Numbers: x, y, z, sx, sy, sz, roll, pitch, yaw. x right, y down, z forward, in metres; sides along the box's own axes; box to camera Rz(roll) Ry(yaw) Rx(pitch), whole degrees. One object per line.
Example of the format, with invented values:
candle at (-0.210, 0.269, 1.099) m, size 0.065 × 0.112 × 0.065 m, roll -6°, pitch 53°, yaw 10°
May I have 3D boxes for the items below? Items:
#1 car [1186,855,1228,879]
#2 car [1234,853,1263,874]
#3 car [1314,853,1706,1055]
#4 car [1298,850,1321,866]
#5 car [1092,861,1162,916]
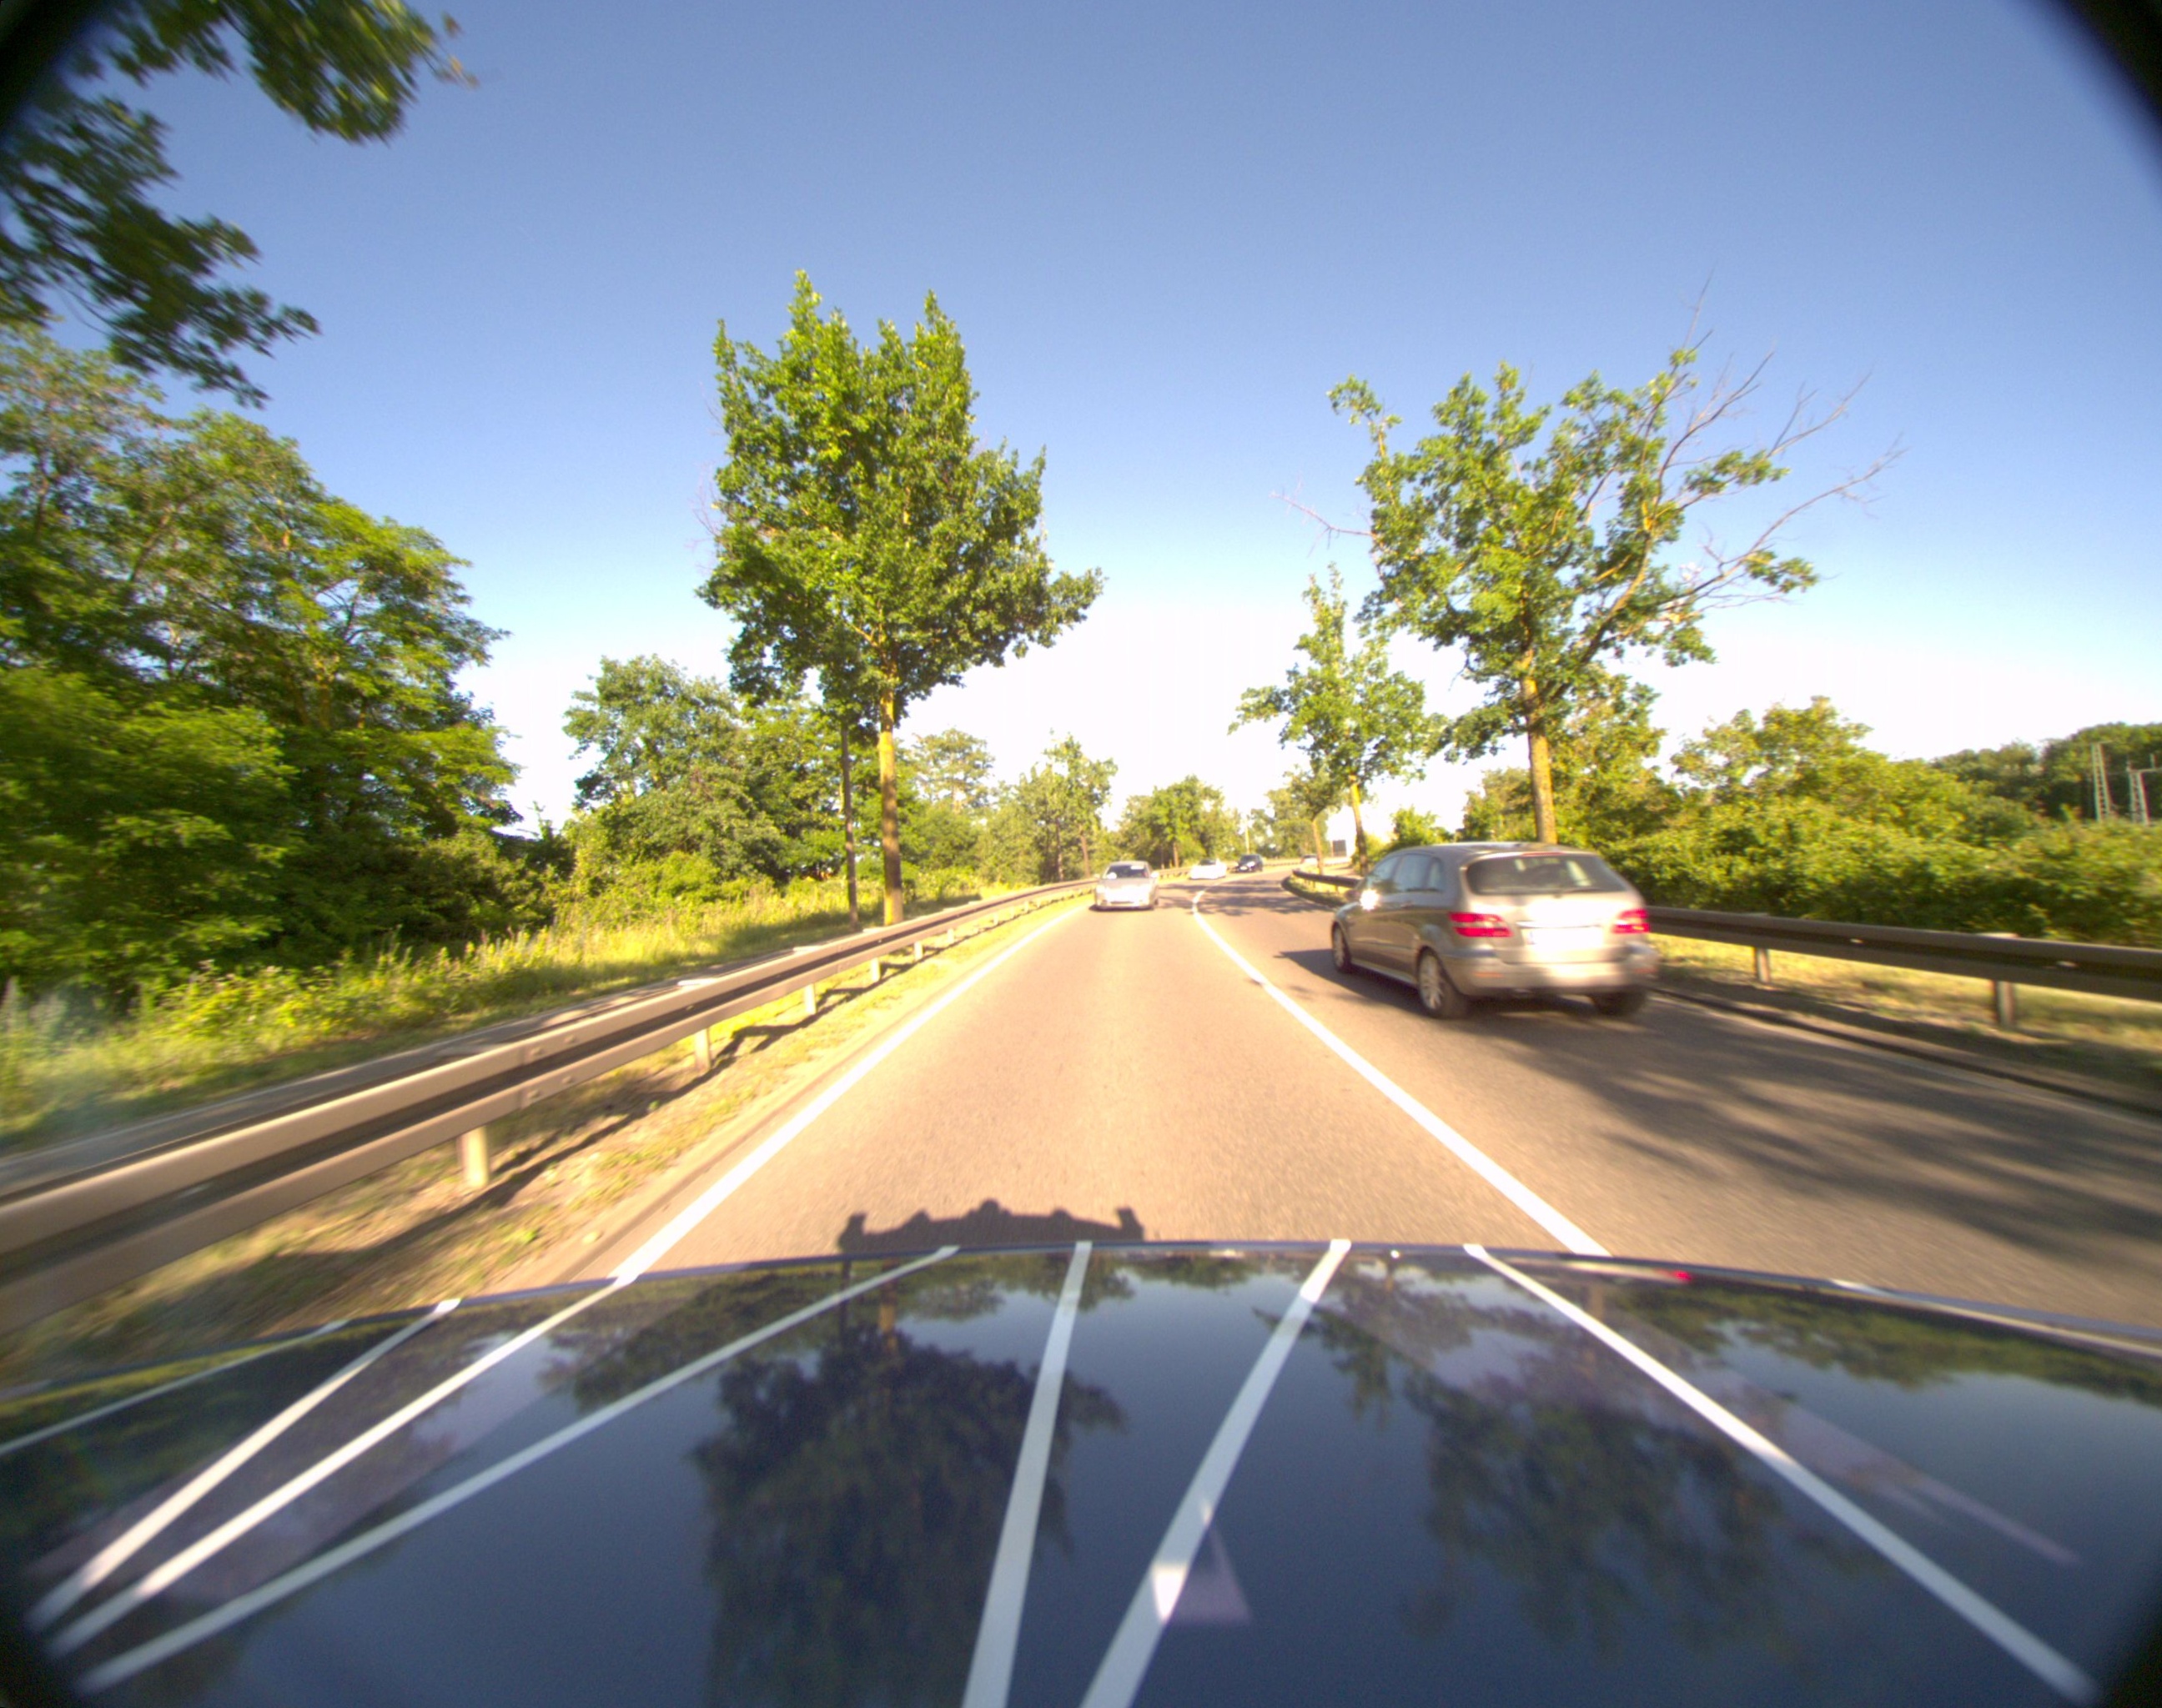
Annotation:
car at (8.950, 0.867, 53.796) m, size 2.146 × 1.558 × 4.204 m, roll -2°, pitch 0°, yaw 21°
car at (14.758, 0.787, 66.832) m, size 1.680 × 1.694 × 3.611 m, roll -3°, pitch 0°, yaw 24°
car at (3.991, 0.790, 8.018) m, size 1.813 × 1.545 × 4.140 m, roll -1°, pitch 0°, yaw 1°
car at (22.617, 0.386, 75.175) m, size 1.696 × 1.509 × 3.987 m, roll -2°, pitch 0°, yaw 24°
car at (1.488, 0.987, 23.272) m, size 1.682 × 1.433 × 3.861 m, roll -3°, pitch 0°, yaw 9°
